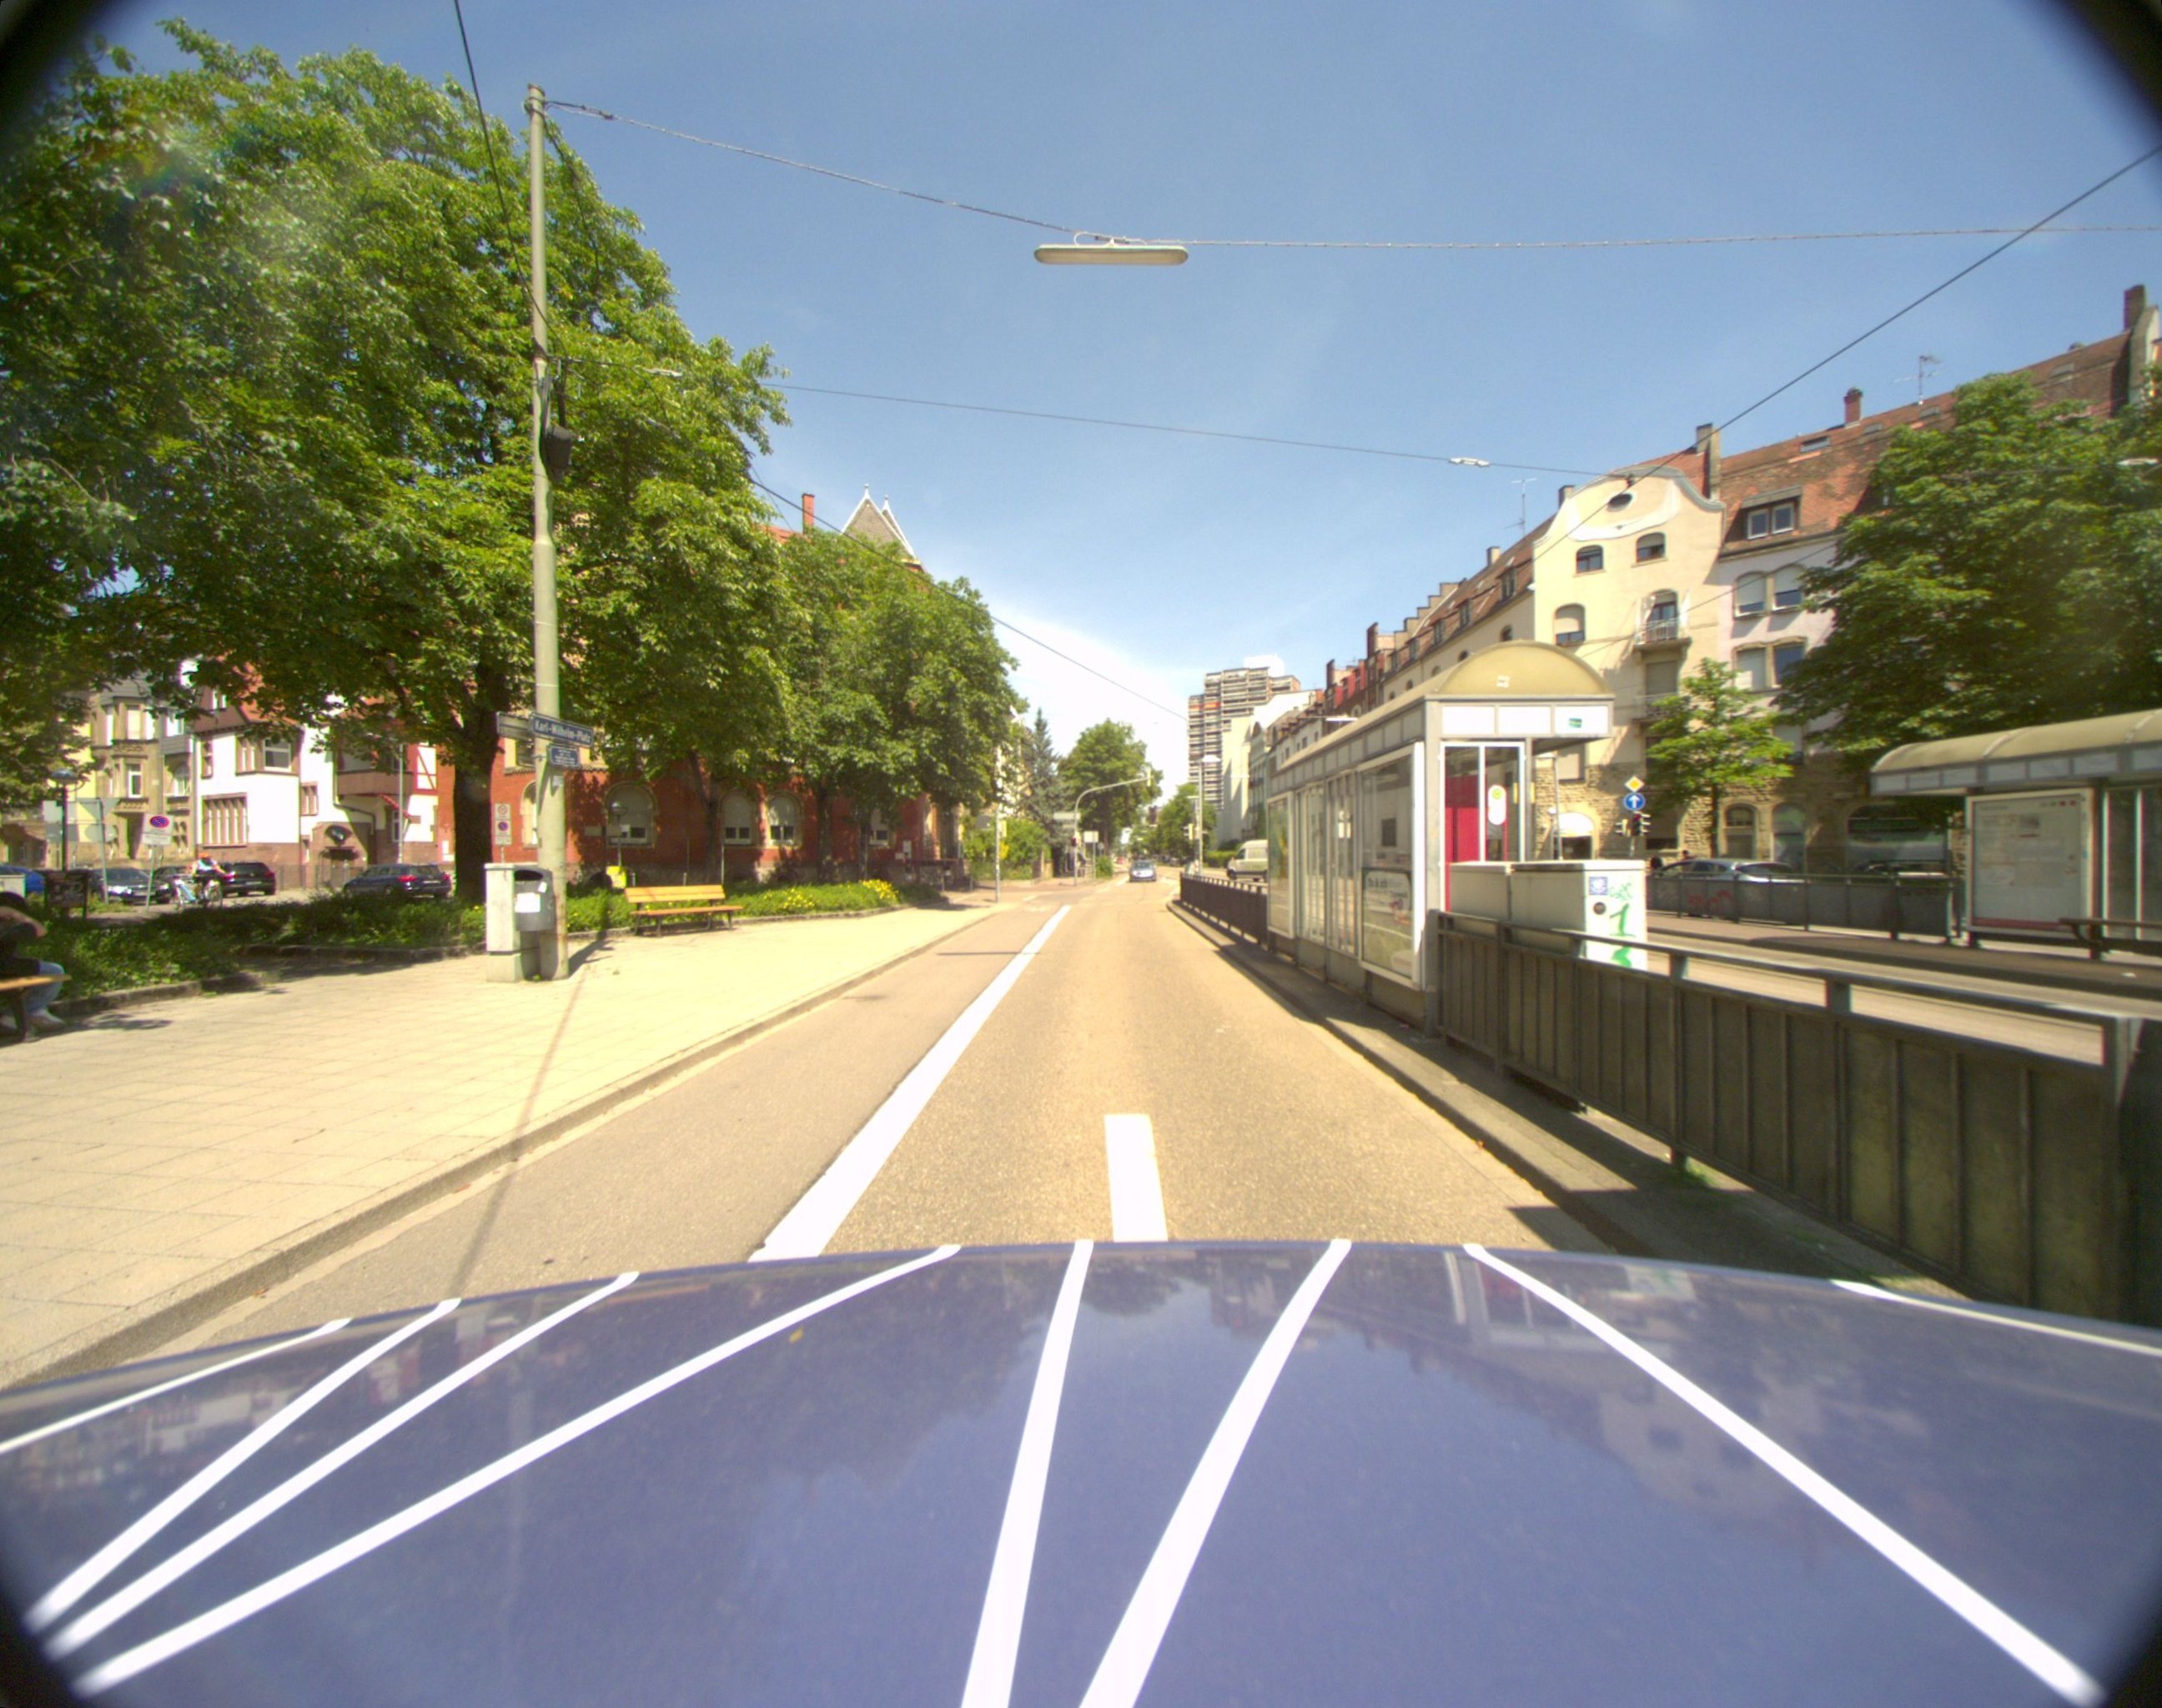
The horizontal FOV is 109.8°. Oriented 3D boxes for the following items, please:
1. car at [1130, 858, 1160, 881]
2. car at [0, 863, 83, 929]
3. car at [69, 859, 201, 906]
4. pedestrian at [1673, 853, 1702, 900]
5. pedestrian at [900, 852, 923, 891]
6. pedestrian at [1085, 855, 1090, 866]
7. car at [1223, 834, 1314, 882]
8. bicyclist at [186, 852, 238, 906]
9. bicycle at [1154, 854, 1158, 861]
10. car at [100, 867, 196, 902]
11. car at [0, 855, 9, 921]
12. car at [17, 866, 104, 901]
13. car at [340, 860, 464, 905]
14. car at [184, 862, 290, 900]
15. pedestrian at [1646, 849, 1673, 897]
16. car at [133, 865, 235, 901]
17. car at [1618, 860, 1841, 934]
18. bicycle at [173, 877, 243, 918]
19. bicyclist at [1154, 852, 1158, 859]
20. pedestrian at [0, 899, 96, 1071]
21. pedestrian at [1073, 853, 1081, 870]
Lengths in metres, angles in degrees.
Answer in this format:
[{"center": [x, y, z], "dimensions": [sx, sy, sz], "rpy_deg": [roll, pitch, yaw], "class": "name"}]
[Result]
[{"center": [4.300, 1.002, 50.809], "dimensions": [1.895, 1.372, 4.001], "rpy_deg": [-2, 1, 5], "class": "car"}, {"center": [-32.847, 1.307, 22.021], "dimensions": [1.934, 1.869, 4.315], "rpy_deg": [-2, 1, 23], "class": "car"}, {"center": [-35.868, 1.074, 28.801], "dimensions": [4.514, 1.608, 1.941], "rpy_deg": [-2, 1, 23], "class": "car"}, {"center": [20.284, 0.754, 25.420], "dimensions": [0.594, 1.542, 0.474], "rpy_deg": [0, 0, -1], "class": "pedestrian"}, {"center": [-7.887, 0.798, 35.286], "dimensions": [0.840, 1.813, 0.672], "rpy_deg": [-1, 1, -37], "class": "pedestrian"}, {"center": [1.014, 1.095, 124.910], "dimensions": [0.686, 1.732, 0.660], "rpy_deg": [-2, 1, 3], "class": "pedestrian"}, {"center": [11.344, 0.226, 46.569], "dimensions": [2.277, 2.658, 5.816], "rpy_deg": [-3, 1, -23], "class": "car"}, {"center": [-28.692, 0.820, 25.094], "dimensions": [1.251, 1.686, 0.876], "rpy_deg": [-2, 1, 32], "class": "bicyclist"}, {"center": [18.410, 0.853, 186.290], "dimensions": [0.644, 1.503, 1.970], "rpy_deg": [-2, 1, -2], "class": "bicycle"}, {"center": [-48.426, 1.580, 39.429], "dimensions": [4.299, 1.608, 1.941], "rpy_deg": [-2, 1, 23], "class": "car"}, {"center": [-37.663, 1.207, 23.789], "dimensions": [1.934, 2.178, 4.315], "rpy_deg": [-2, 1, 23], "class": "car"}, {"center": [-59.182, 1.719, 44.074], "dimensions": [4.299, 1.862, 1.941], "rpy_deg": [-2, 1, 23], "class": "car"}, {"center": [-27.047, 1.139, 30.281], "dimensions": [4.299, 1.608, 1.941], "rpy_deg": [-2, 1, 23], "class": "car"}, {"center": [-39.593, 1.282, 35.661], "dimensions": [4.299, 1.608, 1.941], "rpy_deg": [-2, 1, 23], "class": "car"}, {"center": [20.149, 0.651, 26.458], "dimensions": [0.594, 1.637, 0.474], "rpy_deg": [0, 0, 1], "class": "pedestrian"}, {"center": [-44.153, 1.438, 37.406], "dimensions": [4.299, 1.608, 1.941], "rpy_deg": [-2, 1, 23], "class": "car"}, {"center": [14.835, 0.911, 17.721], "dimensions": [1.812, 1.386, 3.999], "rpy_deg": [-2, 1, 1], "class": "car"}, {"center": [-29.412, 1.438, 25.576], "dimensions": [3.735, 1.256, 0.957], "rpy_deg": [-2, 1, 32], "class": "bicycle"}, {"center": [18.382, 0.356, 186.273], "dimensions": [0.644, 1.864, 0.716], "rpy_deg": [-2, 1, -2], "class": "bicyclist"}, {"center": [-7.746, 0.914, 5.412], "dimensions": [0.566, 1.136, 0.725], "rpy_deg": [0, 1, -16], "class": "pedestrian"}, {"center": [-0.388, 0.733, 74.885], "dimensions": [0.702, 1.645, 0.665], "rpy_deg": [0, 0, 1], "class": "pedestrian"}]
